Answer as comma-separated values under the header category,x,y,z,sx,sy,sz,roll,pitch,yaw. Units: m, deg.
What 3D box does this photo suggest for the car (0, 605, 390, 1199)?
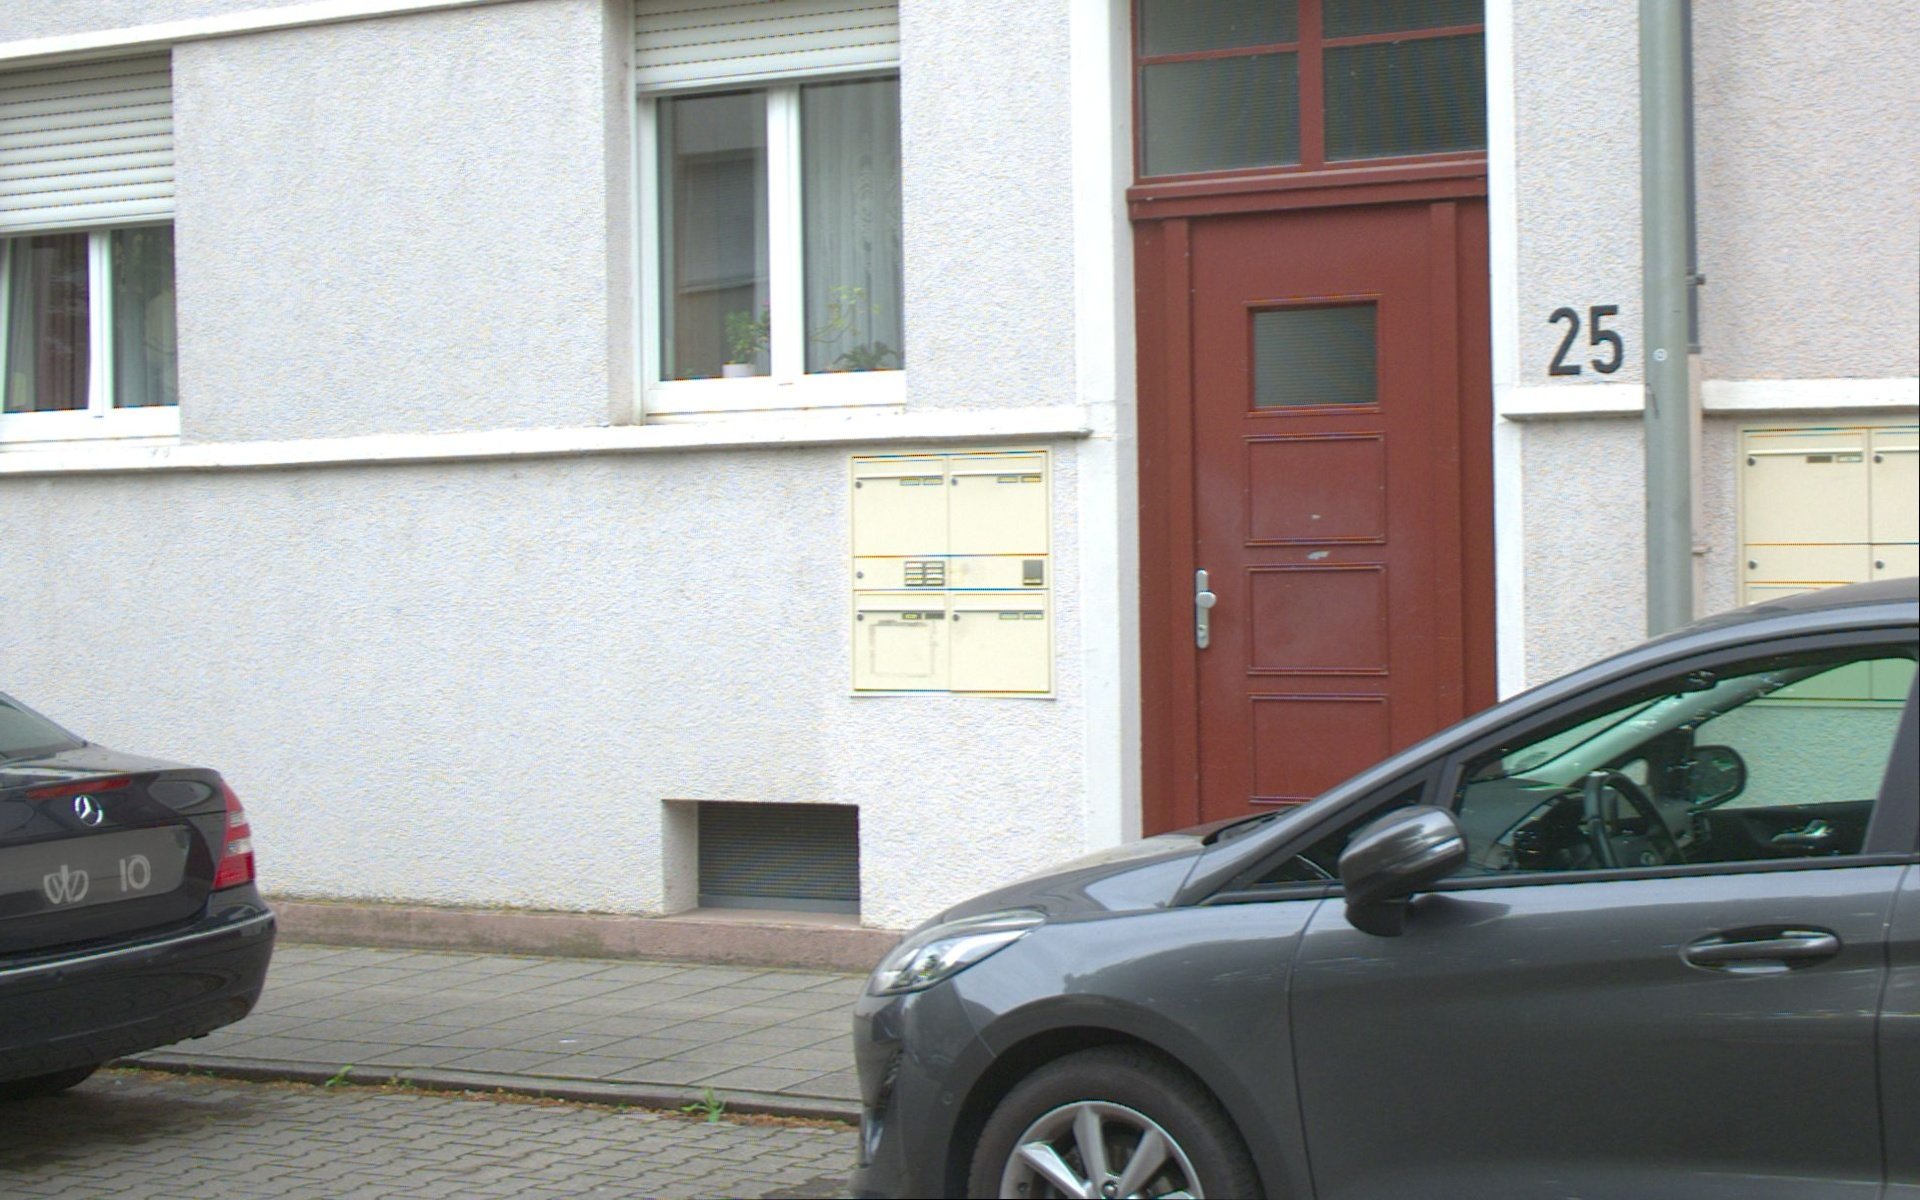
category,x,y,z,sx,sy,sz,roll,pitch,yaw
car,-4.130,0.749,9.723,4.941,1.416,1.748,0,2,29

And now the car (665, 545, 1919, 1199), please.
category,x,y,z,sx,sy,sz,roll,pitch,yaw
car,1.639,0.676,6.475,4.072,1.520,1.760,0,2,29
